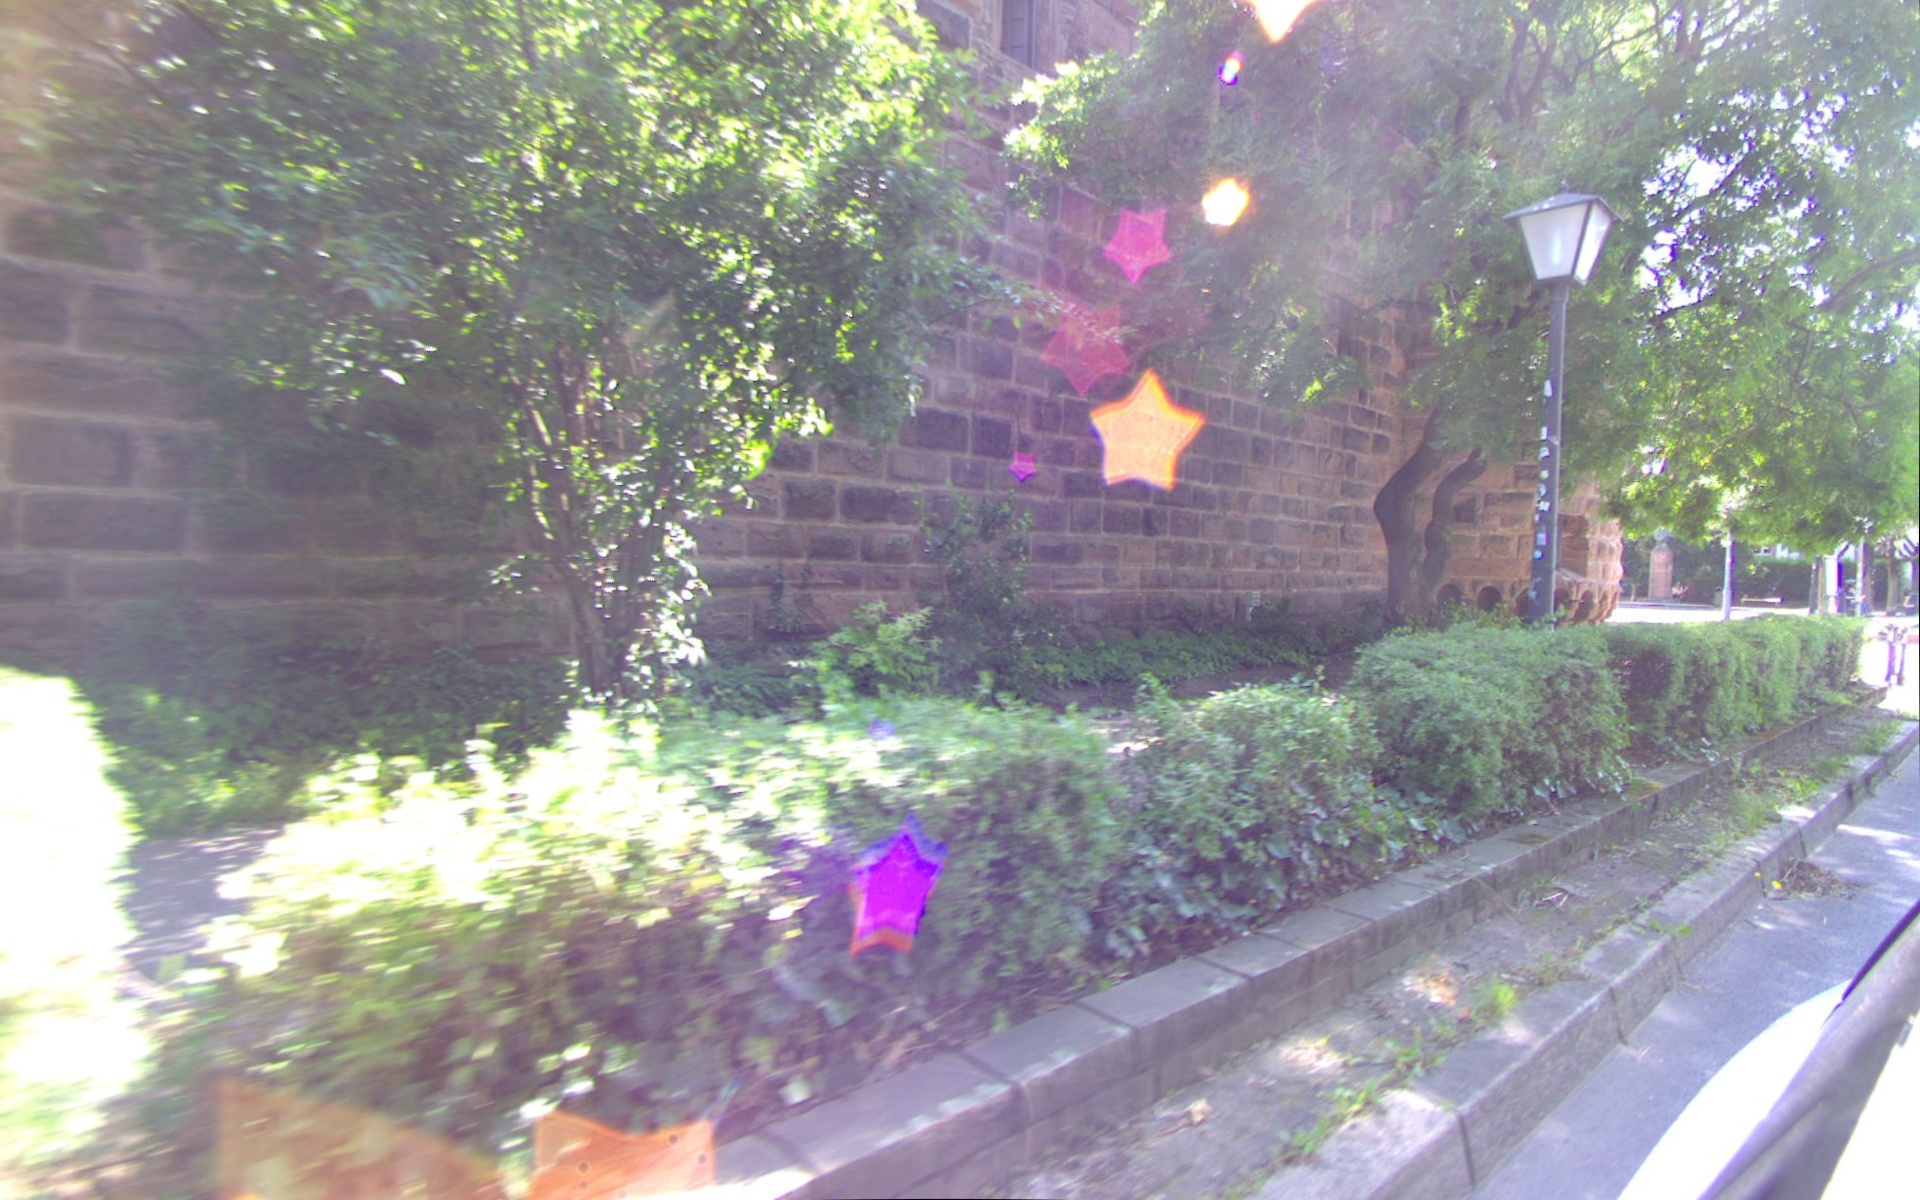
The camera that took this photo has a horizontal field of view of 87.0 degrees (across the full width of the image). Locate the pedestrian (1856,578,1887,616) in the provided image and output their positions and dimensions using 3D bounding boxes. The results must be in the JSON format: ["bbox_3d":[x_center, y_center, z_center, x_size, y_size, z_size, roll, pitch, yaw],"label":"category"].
[{"bbox_3d":[29.479,-0.109,32.720,0.733,1.208,0.632,-1,0,-39],"label":"pedestrian"}]
